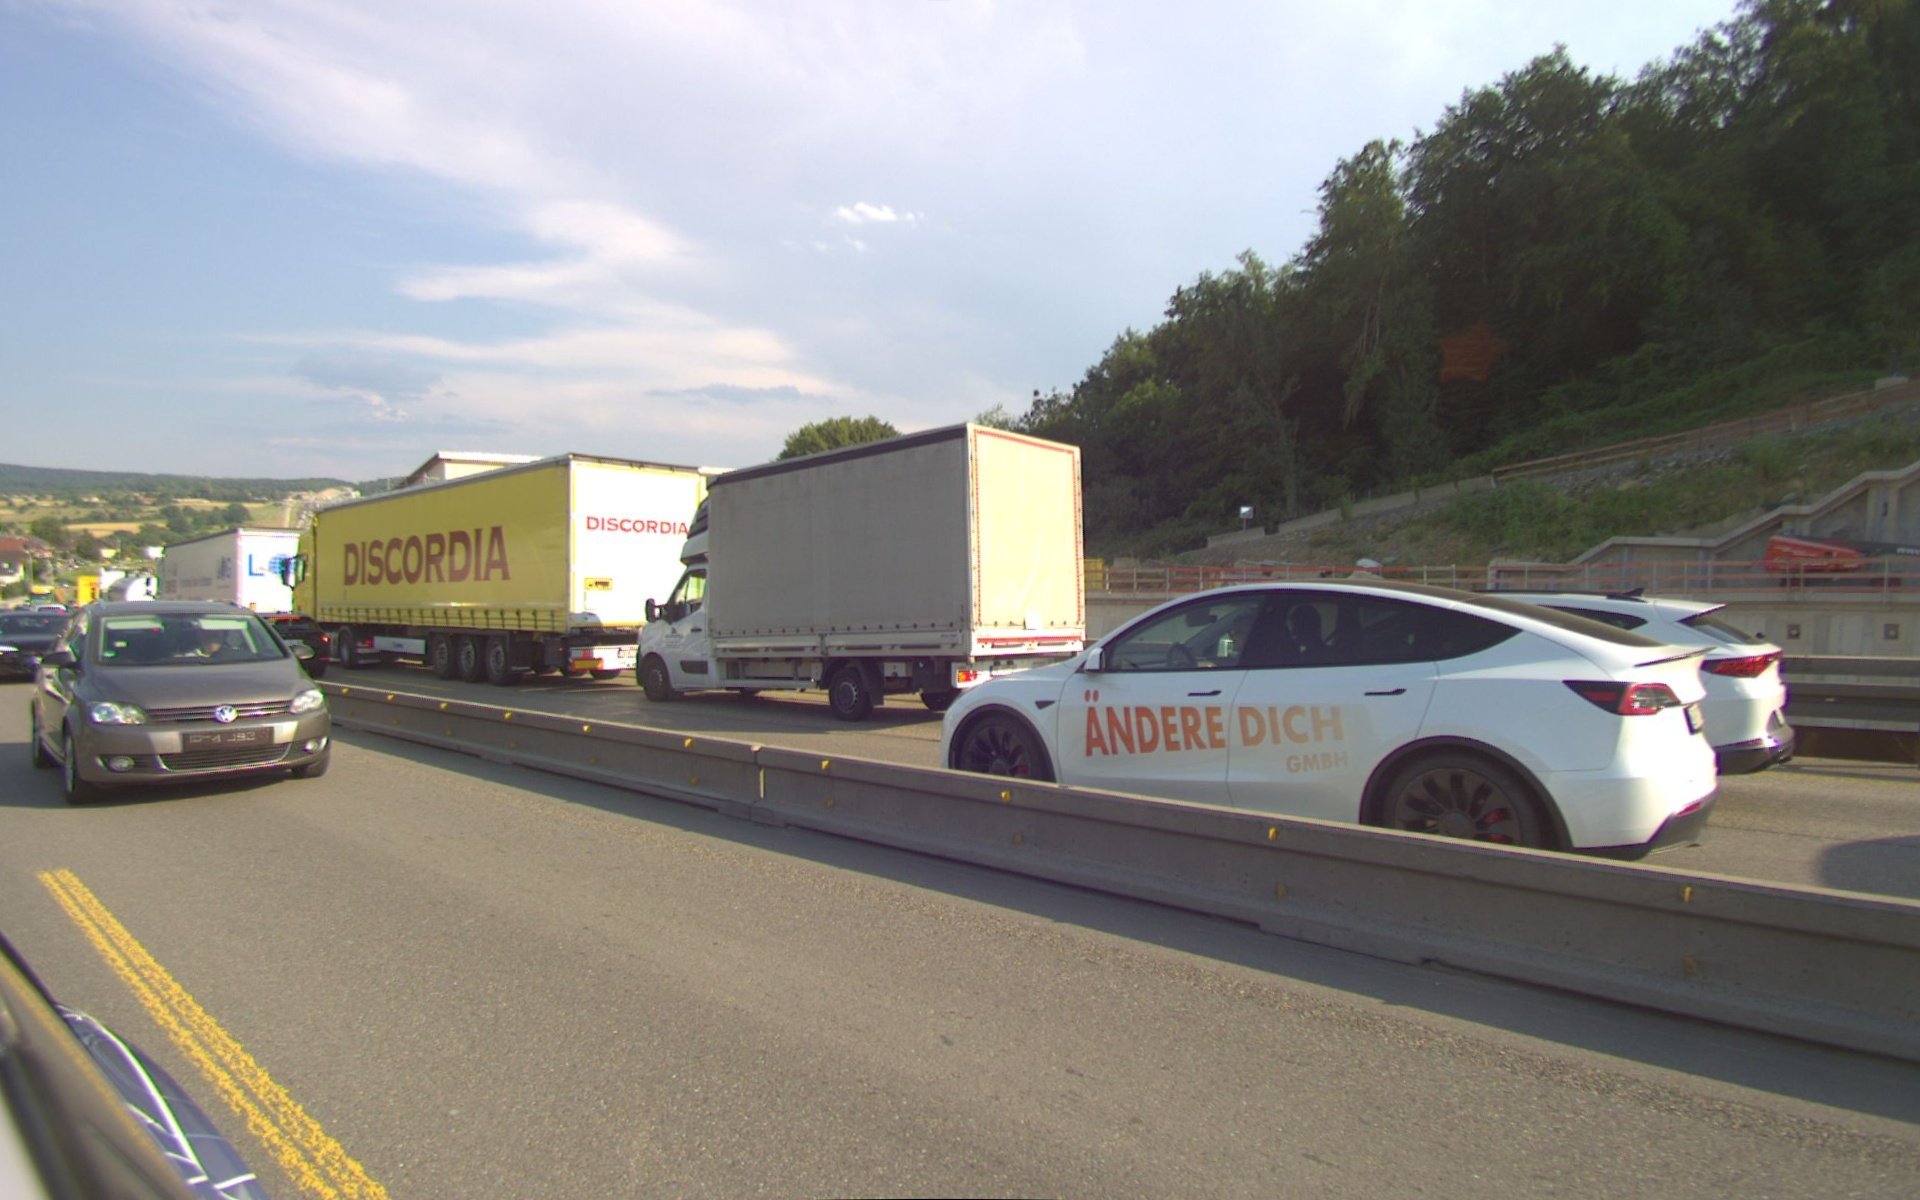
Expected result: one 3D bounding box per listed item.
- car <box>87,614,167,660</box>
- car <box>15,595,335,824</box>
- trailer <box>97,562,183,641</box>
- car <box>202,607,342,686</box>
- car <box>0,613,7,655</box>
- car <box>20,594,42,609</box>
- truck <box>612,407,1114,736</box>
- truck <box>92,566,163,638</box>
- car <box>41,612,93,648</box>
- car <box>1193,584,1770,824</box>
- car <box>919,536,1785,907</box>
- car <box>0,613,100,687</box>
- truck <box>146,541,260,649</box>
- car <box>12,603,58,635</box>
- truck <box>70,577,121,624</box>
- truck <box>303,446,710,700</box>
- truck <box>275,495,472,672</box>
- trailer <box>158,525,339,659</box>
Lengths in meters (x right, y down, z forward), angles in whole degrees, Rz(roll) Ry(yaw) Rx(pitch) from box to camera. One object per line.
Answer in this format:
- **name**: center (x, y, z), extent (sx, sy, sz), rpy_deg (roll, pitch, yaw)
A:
- **car**: center (-28.897, 1.241, 35.051), extent (1.787, 1.436, 4.677), rpy_deg (-1, 0, -44)
- **car**: center (-7.168, 0.775, 9.077), extent (4.100, 1.585, 1.665), rpy_deg (-1, 0, 43)
- **trailer**: center (-44.444, 0.088, 54.706), extent (2.567, 3.910, 10.583), rpy_deg (0, -1, -45)
- **car**: center (-15.009, 0.934, 21.989), extent (4.287, 1.535, 1.636), rpy_deg (-1, 0, 43)
- **car**: center (-34.685, 1.221, 35.500), extent (1.675, 1.409, 4.002), rpy_deg (-2, 0, -45)
- **car**: center (-145.255, 0.248, 158.205), extent (4.750, 2.015, 1.799), rpy_deg (-2, -3, 39)
- **truck**: center (-1.751, -0.269, 14.175), extent (7.612, 3.489, 2.422), rpy_deg (-1, -1, 41)
- **truck**: center (-47.936, 0.123, 58.207), extent (2.569, 3.917, 6.206), rpy_deg (0, -1, -45)
- **car**: center (-38.958, 1.280, 44.184), extent (1.636, 1.440, 4.571), rpy_deg (-1, 0, -41)
- **car**: center (4.177, 0.672, 8.476), extent (4.001, 1.535, 1.745), rpy_deg (-1, 0, 42)
- **car**: center (2.153, 0.604, 6.436), extent (4.723, 1.498, 2.037), rpy_deg (-2, -4, 41)
- **car**: center (-19.650, 0.989, 21.412), extent (4.001, 1.409, 1.841), rpy_deg (0, -1, 44)
- **truck**: center (-31.027, -0.158, 41.418), extent (6.103, 4.066, 2.812), rpy_deg (-1, -1, 44)
- **car**: center (-57.390, 1.160, 62.787), extent (4.001, 1.925, 1.841), rpy_deg (0, -1, 44)
- **truck**: center (-73.137, 0.051, 85.544), extent (2.859, 3.738, 9.498), rpy_deg (1, 0, -43)
- **truck**: center (-10.668, -0.391, 22.134), extent (14.150, 4.119, 2.678), rpy_deg (0, -1, 42)
- **truck**: center (-15.446, -0.353, 26.483), extent (6.100, 4.119, 2.684), rpy_deg (0, -1, 42)
- **trailer**: center (-26.145, -0.204, 36.680), extent (13.975, 4.066, 2.825), rpy_deg (0, -1, 44)
